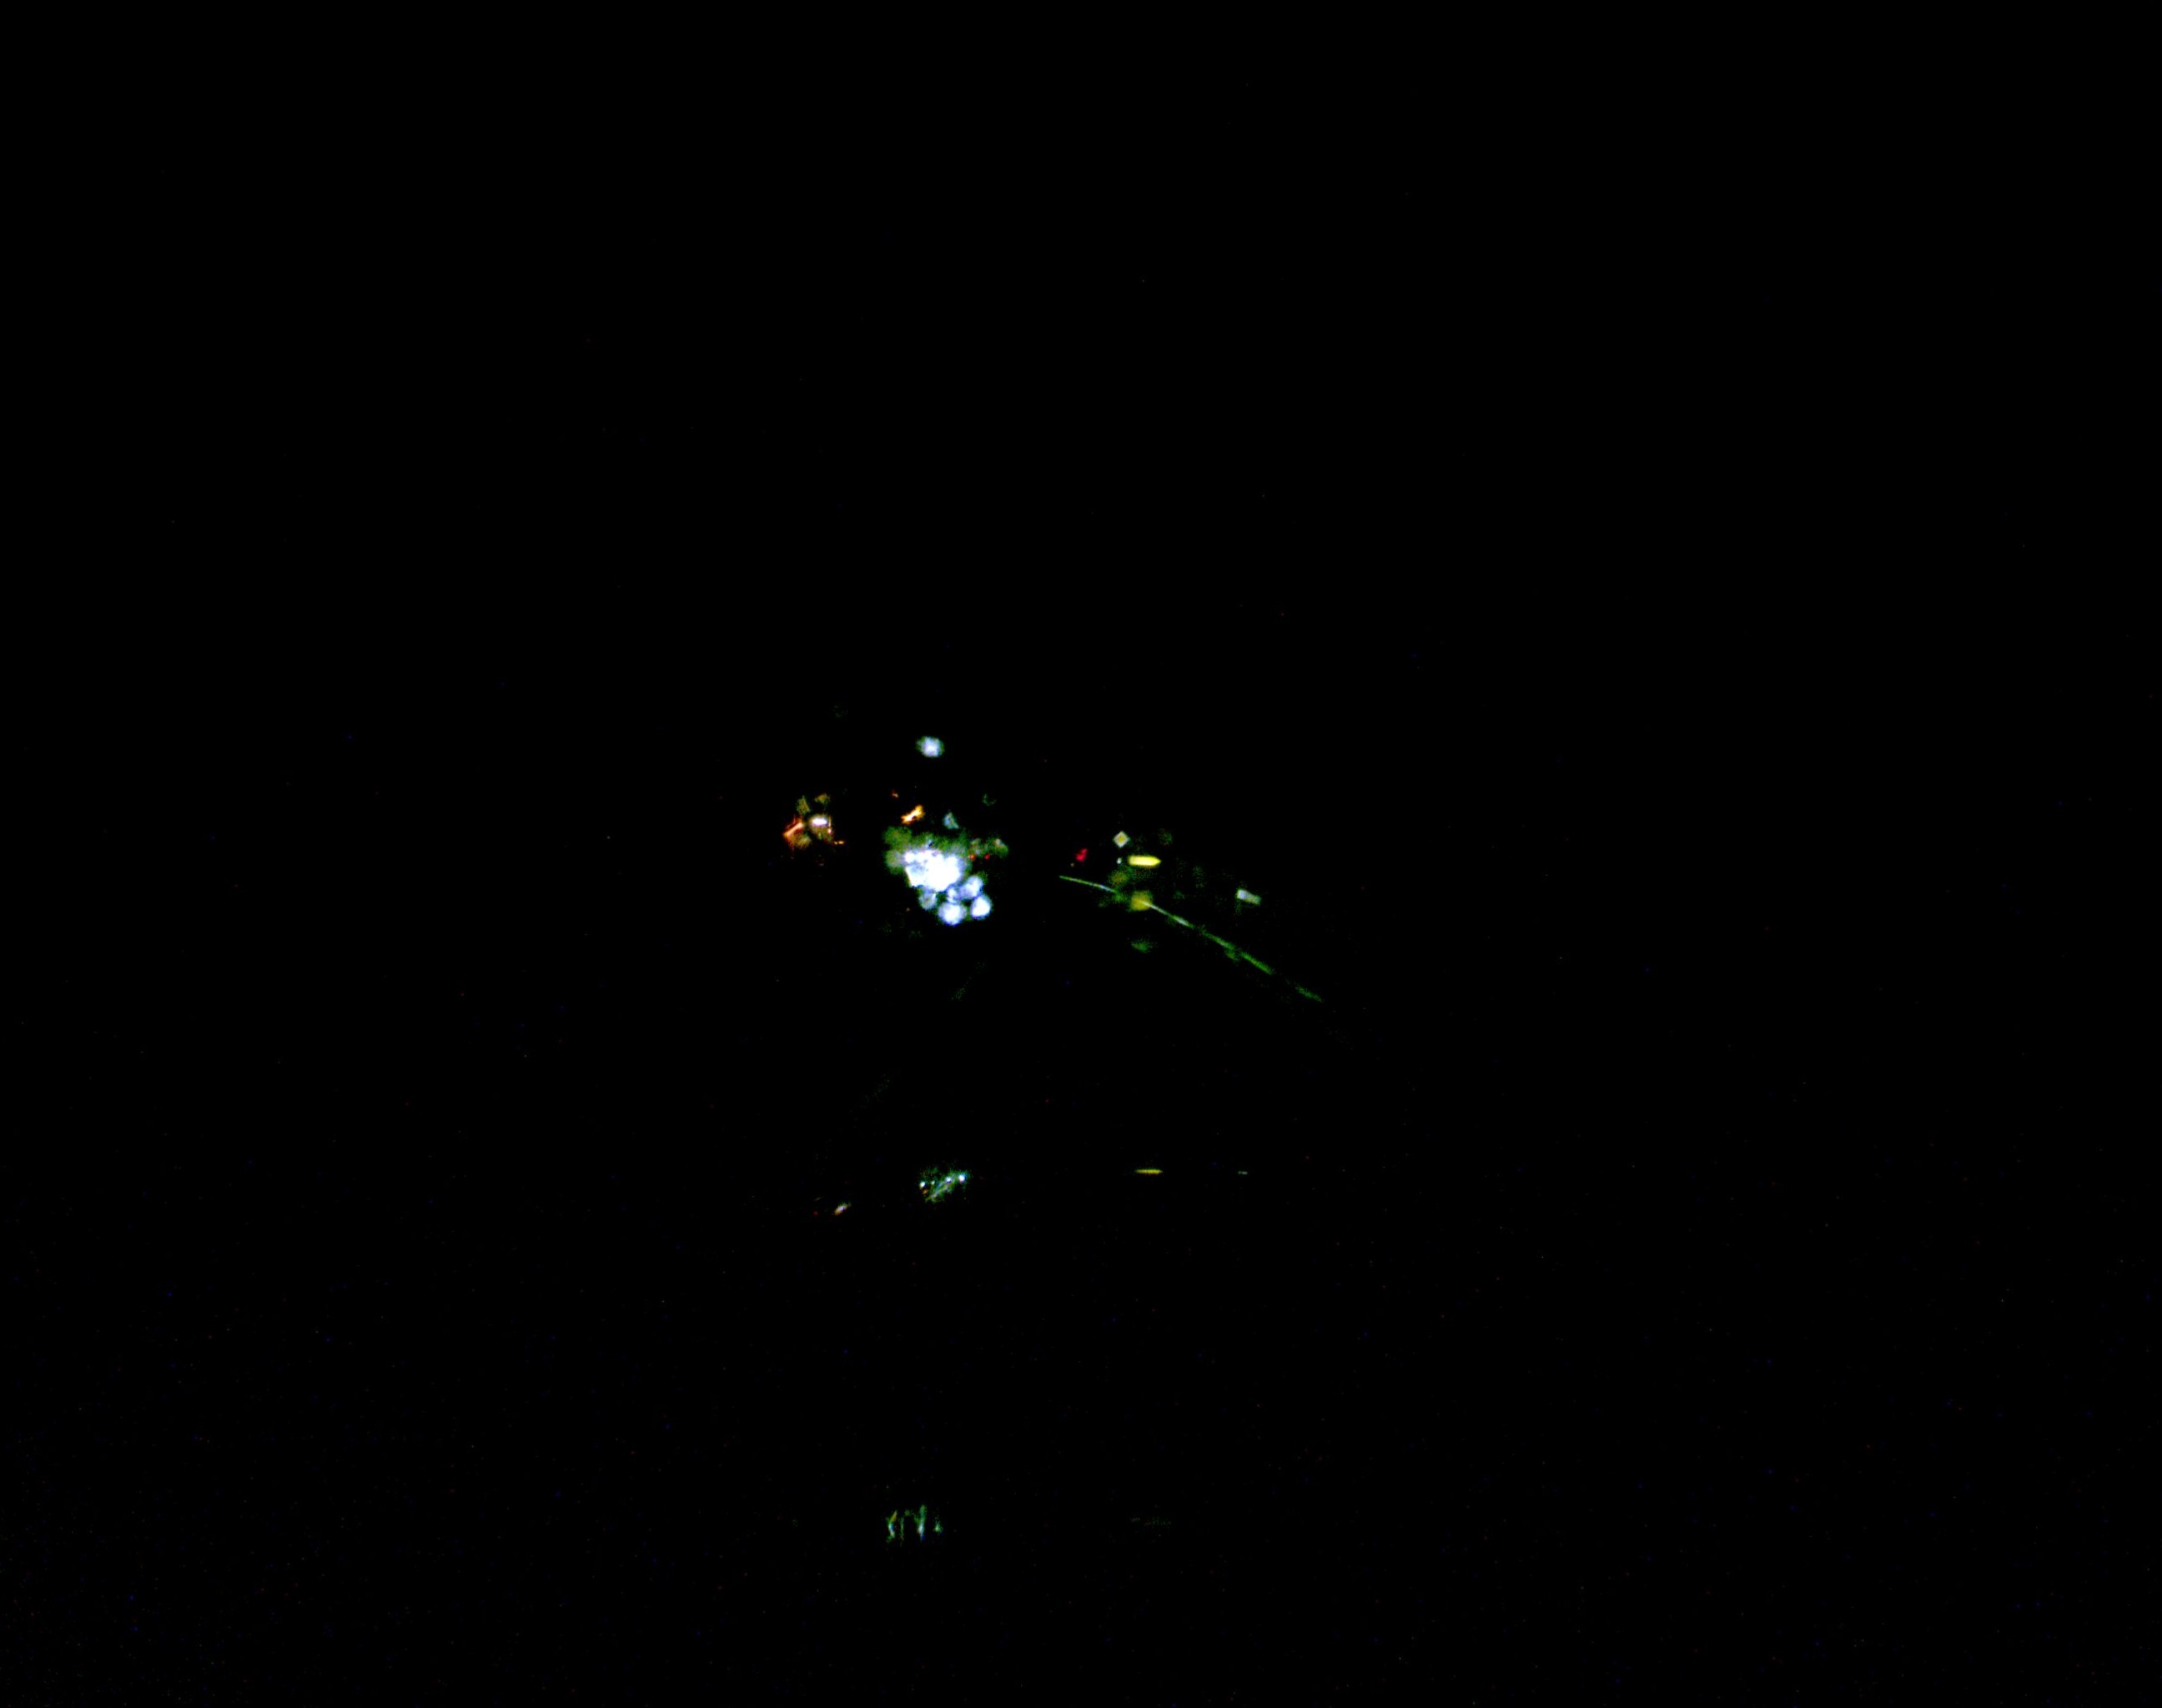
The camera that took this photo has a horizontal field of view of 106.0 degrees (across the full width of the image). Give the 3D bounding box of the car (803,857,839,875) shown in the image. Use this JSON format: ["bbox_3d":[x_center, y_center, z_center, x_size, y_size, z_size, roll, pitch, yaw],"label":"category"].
[{"bbox_3d":[-23.152,1.057,72.785,1.682,1.398,4.153,-3,1,2],"label":"car"}]

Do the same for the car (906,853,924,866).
[{"bbox_3d":[-19.945,0.646,97.978,1.716,1.476,3.847,1,0,-17],"label":"car"}]

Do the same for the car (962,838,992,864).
[{"bbox_3d":[-11.198,-0.362,87.109,2.542,2.497,5.689,0,3,-14],"label":"car"}]

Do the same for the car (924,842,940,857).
[{"bbox_3d":[-20.751,-0.572,113.378,1.997,2.014,3.980,1,-1,-15],"label":"car"}]

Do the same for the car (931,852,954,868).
[{"bbox_3d":[-13.980,0.638,82.025,1.959,1.522,4.377,1,-1,-15],"label":"car"}]

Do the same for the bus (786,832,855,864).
[{"bbox_3d":[-33.860,-0.805,105.412,2.919,3.868,12.899,0,1,-45],"label":"bus"}]
